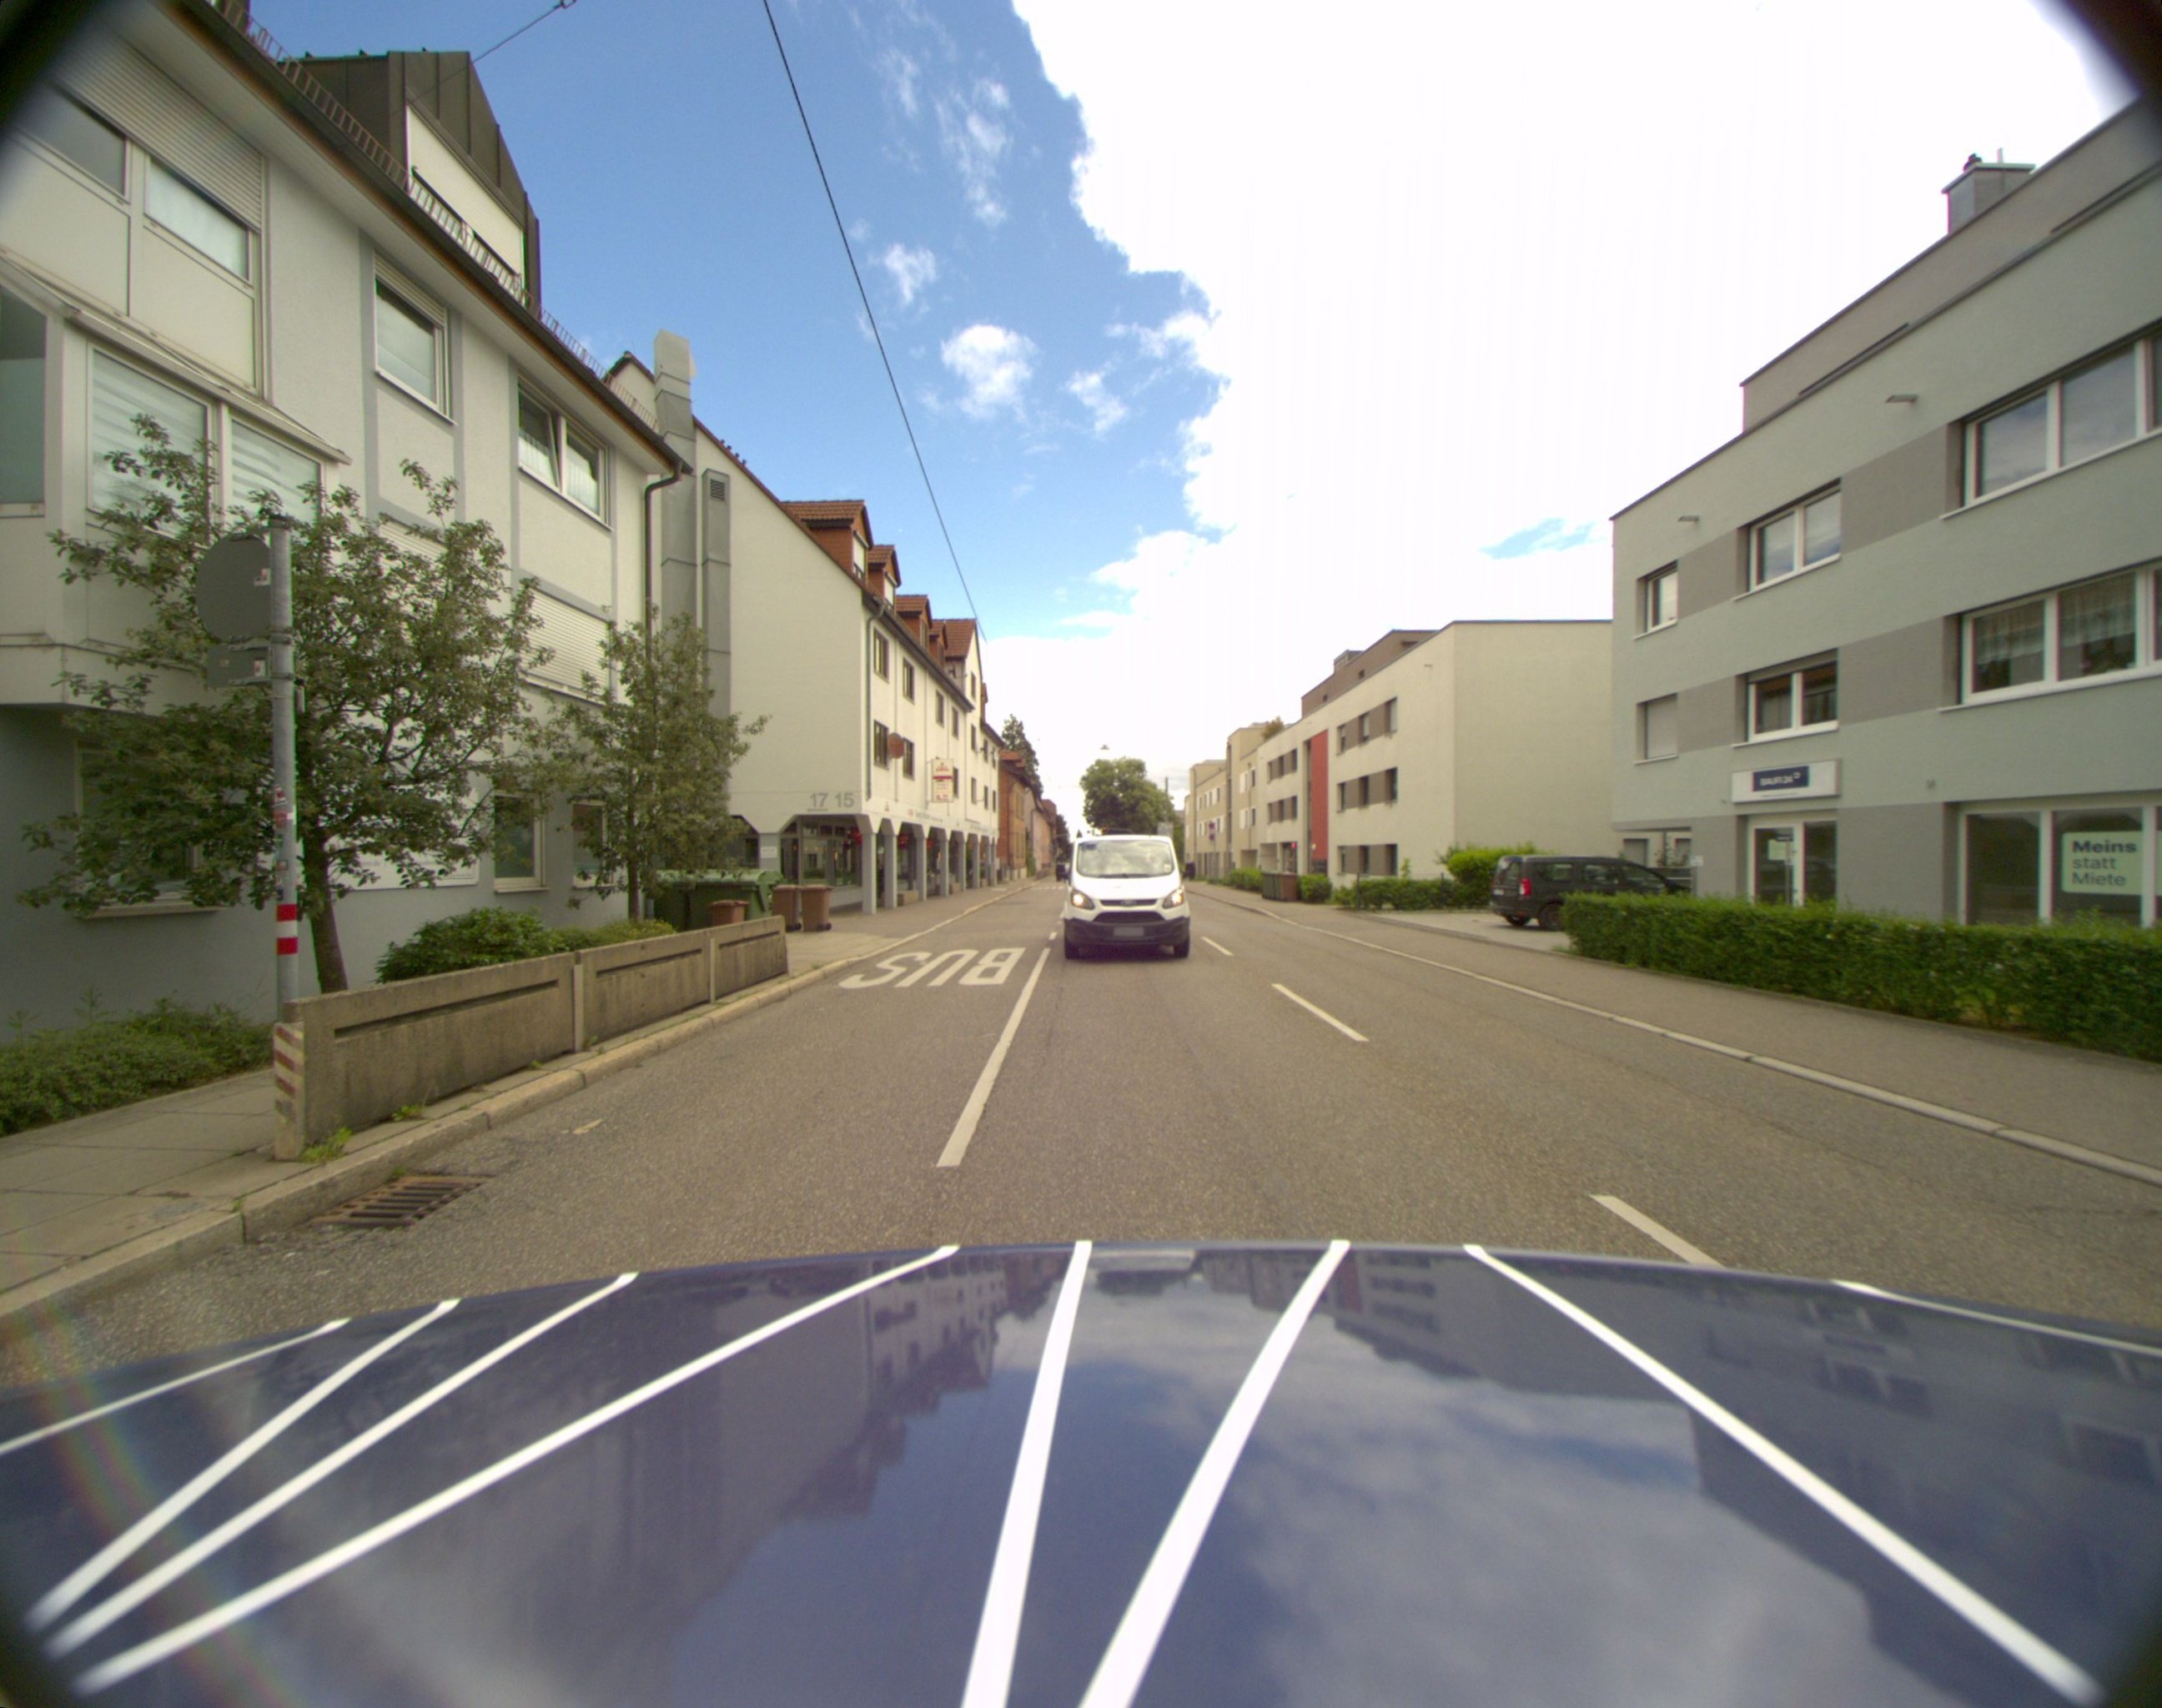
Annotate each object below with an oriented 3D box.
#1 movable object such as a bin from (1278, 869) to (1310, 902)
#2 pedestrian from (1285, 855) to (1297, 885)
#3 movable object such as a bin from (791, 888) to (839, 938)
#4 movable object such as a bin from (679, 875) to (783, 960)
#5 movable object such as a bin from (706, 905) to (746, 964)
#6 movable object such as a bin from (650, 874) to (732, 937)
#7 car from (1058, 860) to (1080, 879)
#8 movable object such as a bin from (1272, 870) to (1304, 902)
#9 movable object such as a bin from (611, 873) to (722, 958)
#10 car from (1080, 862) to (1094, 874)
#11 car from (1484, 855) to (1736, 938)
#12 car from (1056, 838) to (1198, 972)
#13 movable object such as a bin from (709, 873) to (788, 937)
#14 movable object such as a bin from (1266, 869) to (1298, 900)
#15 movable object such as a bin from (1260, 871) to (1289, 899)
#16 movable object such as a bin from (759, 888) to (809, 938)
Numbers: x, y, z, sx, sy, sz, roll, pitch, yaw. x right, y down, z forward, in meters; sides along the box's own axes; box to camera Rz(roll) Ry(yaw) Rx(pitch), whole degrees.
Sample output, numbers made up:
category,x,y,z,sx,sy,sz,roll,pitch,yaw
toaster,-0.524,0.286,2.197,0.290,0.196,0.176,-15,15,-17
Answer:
category,x,y,z,sx,sy,sz,roll,pitch,yaw
movable object such as a bin,7.636,1.122,27.257,0.943,1.144,0.612,0,0,-4
pedestrian,11.655,0.877,42.140,0.519,1.633,0.641,0,0,22
movable object such as a bin,-6.036,1.326,17.304,0.685,1.061,0.972,0,0,5
movable object such as a bin,-6.122,1.087,13.381,1.270,1.409,1.162,0,0,1
movable object such as a bin,-5.865,1.321,12.565,0.431,0.915,0.465,0,0,1
movable object such as a bin,-9.082,1.178,17.745,1.212,1.409,1.260,0,0,5
car,-1.002,1.246,63.109,1.755,1.485,3.986,0,0,0
movable object such as a bin,7.616,1.156,27.965,0.951,1.144,0.749,0,0,-4
movable object such as a bin,-7.472,1.083,13.796,1.270,1.426,1.307,0,0,1
car,0.760,1.811,98.533,1.755,1.485,3.986,0,0,0
car,11.277,0.871,16.437,4.172,1.658,1.725,0,1,4
car,0.677,0.745,13.589,2.062,1.945,5.060,0,0,0
movable object such as a bin,-7.716,1.166,17.706,1.212,1.409,1.260,0,0,5
movable object such as a bin,7.610,1.155,28.792,0.959,1.144,0.840,0,0,-4
movable object such as a bin,7.546,1.198,29.707,0.897,1.082,0.792,0,0,-4
movable object such as a bin,-6.767,1.329,17.342,0.699,1.073,0.972,0,0,5
